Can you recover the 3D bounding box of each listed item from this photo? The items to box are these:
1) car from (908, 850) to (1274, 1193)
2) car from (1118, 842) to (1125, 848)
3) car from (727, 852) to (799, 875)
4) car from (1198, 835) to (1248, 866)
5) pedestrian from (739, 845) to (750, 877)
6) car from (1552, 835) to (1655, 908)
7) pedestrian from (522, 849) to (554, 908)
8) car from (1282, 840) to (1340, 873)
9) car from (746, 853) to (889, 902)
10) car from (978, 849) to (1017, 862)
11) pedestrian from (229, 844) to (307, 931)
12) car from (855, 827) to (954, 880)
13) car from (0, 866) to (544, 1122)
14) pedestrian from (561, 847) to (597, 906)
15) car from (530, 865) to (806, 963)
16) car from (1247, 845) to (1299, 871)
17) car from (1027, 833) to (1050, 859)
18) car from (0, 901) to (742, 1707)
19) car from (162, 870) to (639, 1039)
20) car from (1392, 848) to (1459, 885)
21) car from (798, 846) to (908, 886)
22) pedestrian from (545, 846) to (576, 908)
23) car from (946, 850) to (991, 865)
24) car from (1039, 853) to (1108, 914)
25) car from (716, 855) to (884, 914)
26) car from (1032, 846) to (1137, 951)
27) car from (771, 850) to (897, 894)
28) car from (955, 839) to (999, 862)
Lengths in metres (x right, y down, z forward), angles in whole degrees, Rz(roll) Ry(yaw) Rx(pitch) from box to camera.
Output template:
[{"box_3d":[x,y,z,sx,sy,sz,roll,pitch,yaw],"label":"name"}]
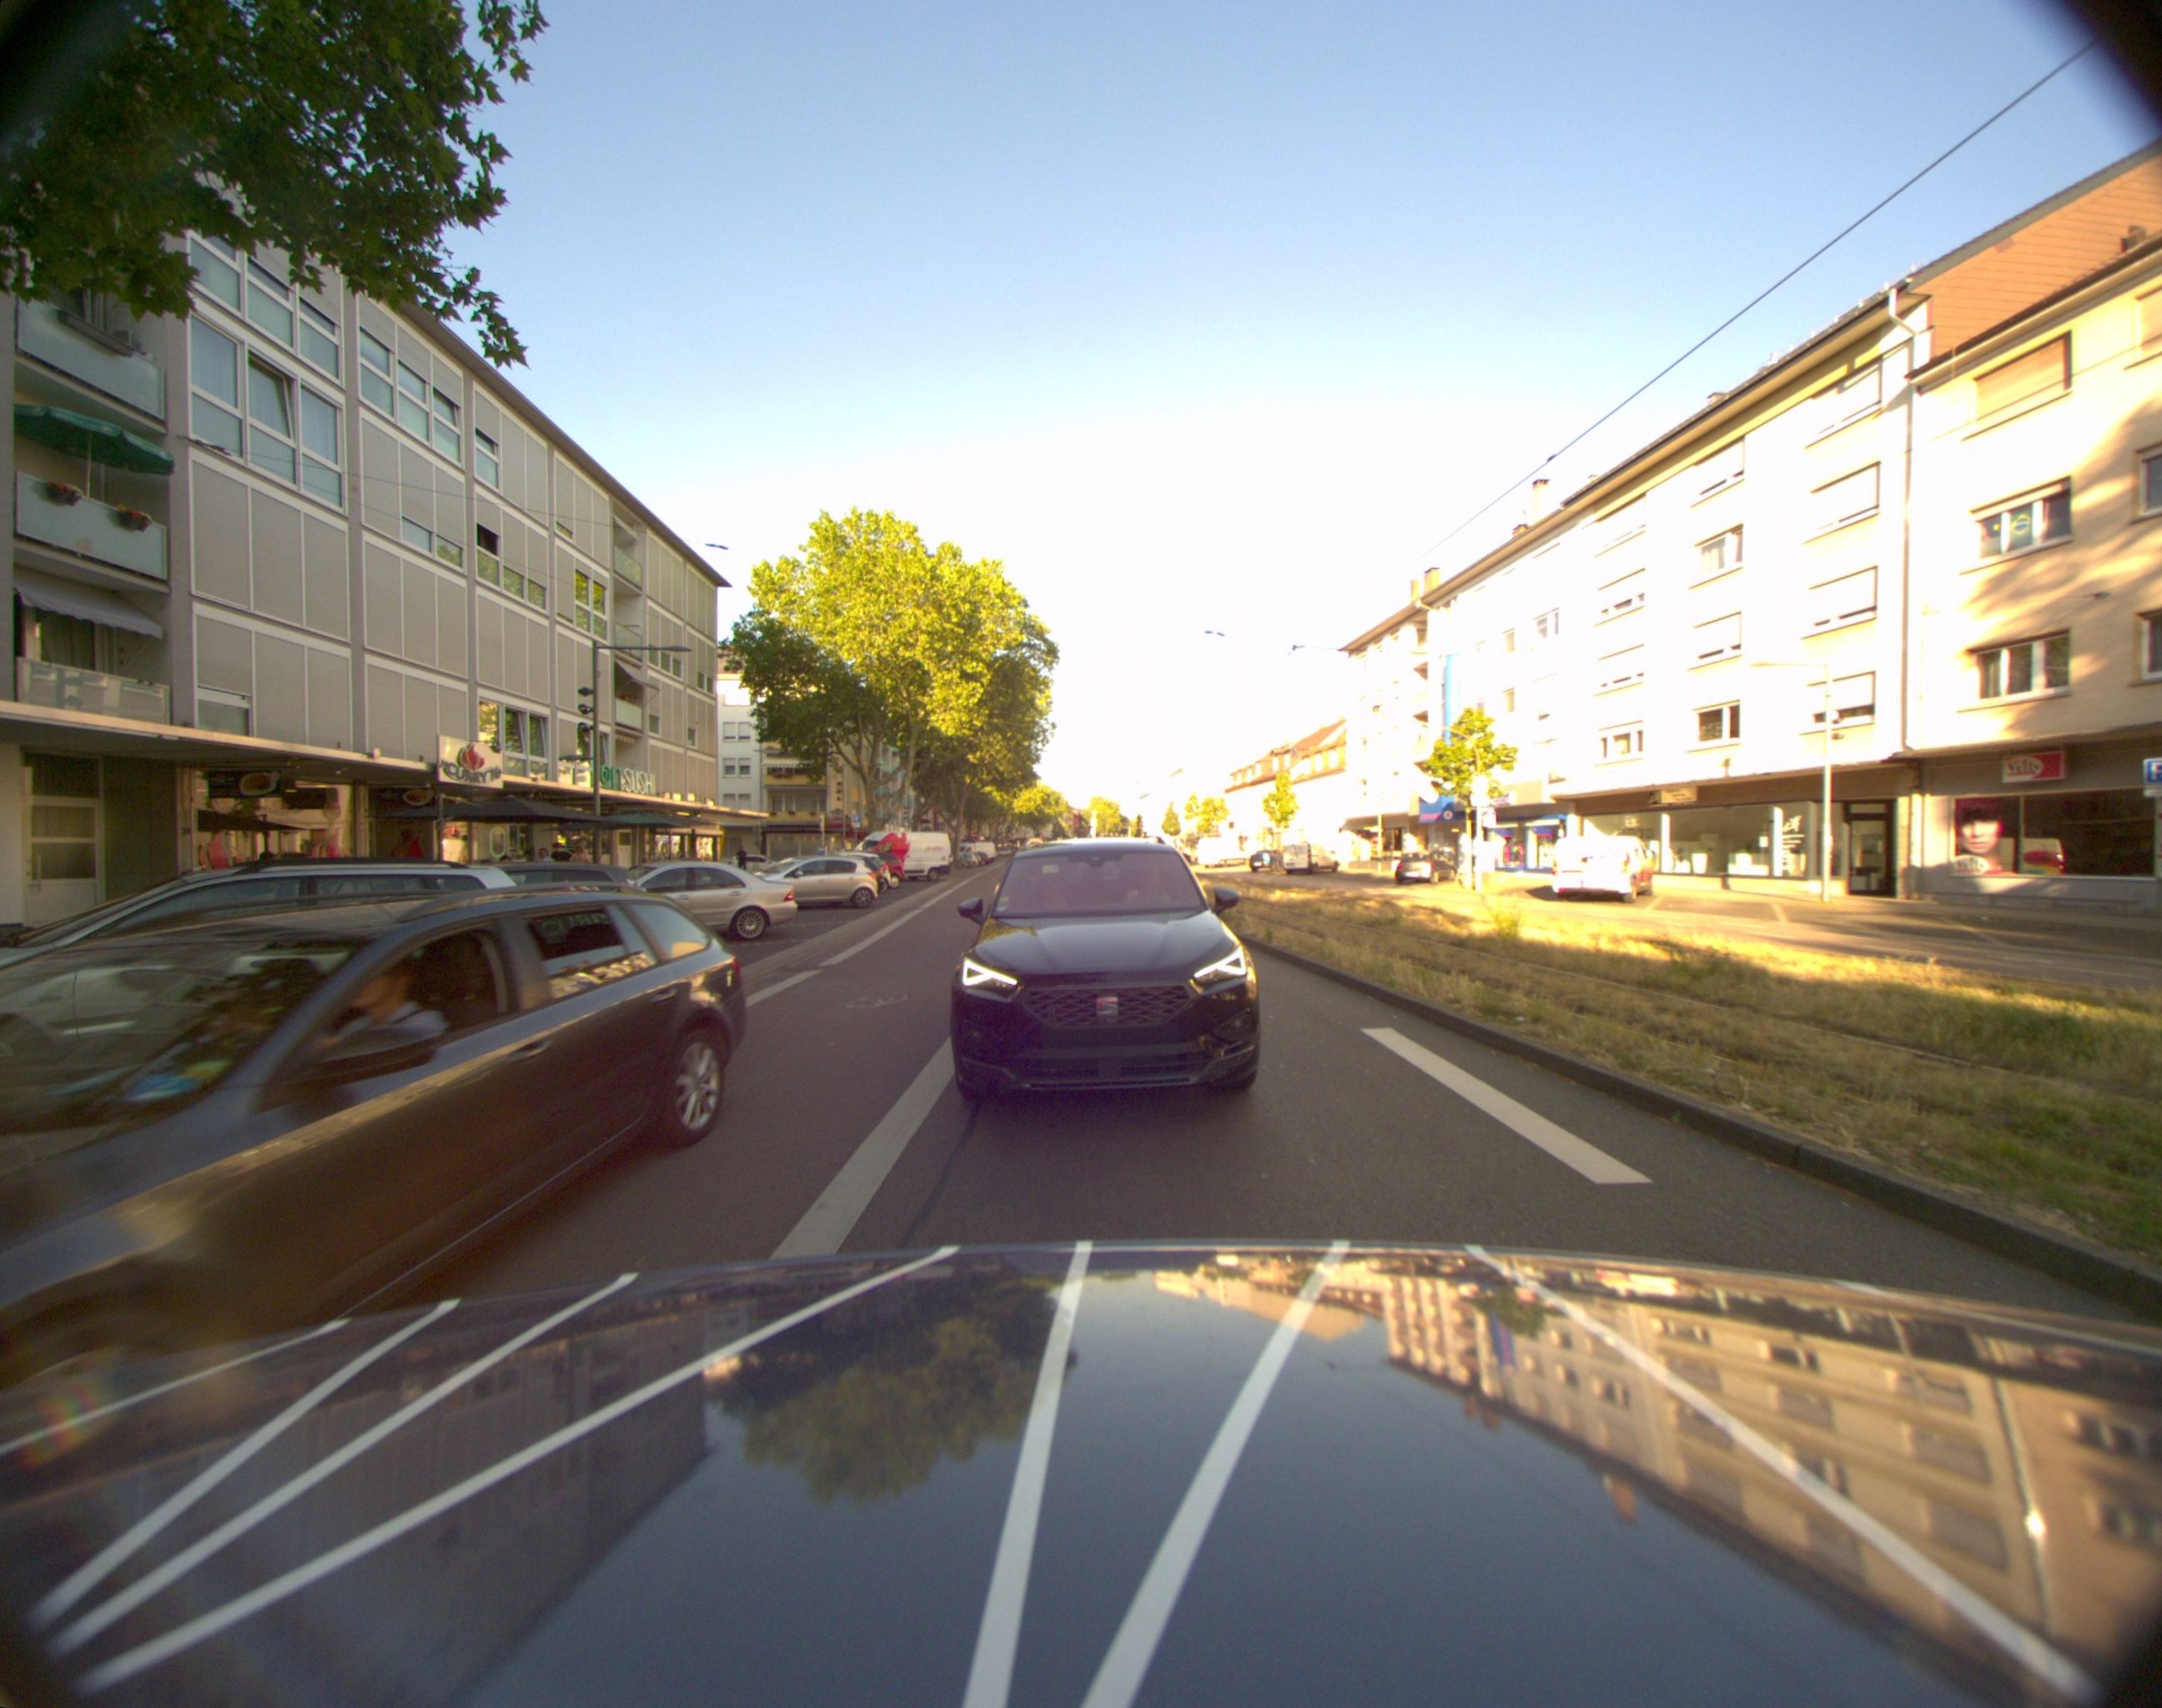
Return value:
[{"box_3d":[0.078,0.838,5.831,1.785,1.639,3.999,-2,1,1],"label":"car"},{"box_3d":[12.098,-2.644,227.166,1.845,1.571,4.451,0,1,4],"label":"car"},{"box_3d":[-21.042,0.602,50.373,4.000,1.412,1.998,0,1,-8],"label":"car"},{"box_3d":[12.920,-0.363,68.605,1.922,2.599,6.601,-1,1,34],"label":"car"},{"box_3d":[-18.361,0.368,41.455,0.481,1.720,0.347,-1,1,-38],"label":"pedestrian"},{"box_3d":[15.609,0.447,22.622,1.853,1.888,4.007,-1,2,44],"label":"car"},{"box_3d":[-15.148,0.685,21.199,0.537,1.630,0.478,0,1,-4],"label":"pedestrian"},{"box_3d":[14.487,0.110,47.807,1.853,1.927,4.513,-1,1,40],"label":"car"},{"box_3d":[-8.310,0.726,24.075,3.949,1.420,1.672,1,1,-34],"label":"car"},{"box_3d":[-9.104,0.163,82.975,1.778,1.326,3.943,0,1,44],"label":"car"},{"box_3d":[-15.129,0.608,14.164,0.583,1.573,0.771,0,1,2],"label":"pedestrian"},{"box_3d":[-8.731,0.007,37.837,4.606,2.479,1.672,0,-1,-44],"label":"car"},{"box_3d":[-6.906,0.908,6.033,1.672,1.533,3.993,2,1,38],"label":"car"},{"box_3d":[-13.463,0.598,20.390,0.561,1.567,0.642,0,1,-5],"label":"pedestrian"},{"box_3d":[-7.086,0.923,13.361,1.592,1.393,3.950,2,1,41],"label":"car"},{"box_3d":[13.799,0.240,54.519,3.922,1.704,1.853,-2,1,-45],"label":"car"},{"box_3d":[-5.333,-1.030,97.027,2.660,2.989,7.131,-2,1,-2],"label":"car"},{"box_3d":[-3.020,1.060,2.619,1.728,1.443,4.228,-2,1,0],"label":"car"},{"box_3d":[-7.711,0.961,8.972,1.672,1.420,3.950,2,1,38],"label":"car"},{"box_3d":[15.447,0.521,33.997,1.731,1.489,4.008,-1,1,40],"label":"car"},{"box_3d":[-9.166,0.488,30.599,3.948,1.421,1.672,2,2,-29],"label":"car"},{"box_3d":[-14.599,0.644,21.324,0.545,1.710,0.457,0,1,-4],"label":"pedestrian"},{"box_3d":[-10.793,0.281,72.969,1.778,1.396,3.943,1,1,44],"label":"car"},{"box_3d":[-0.208,0.763,21.625,1.729,1.467,3.999,-2,1,-1],"label":"car"},{"box_3d":[-7.519,0.785,20.550,3.950,1.420,1.555,1,1,-45],"label":"car"},{"box_3d":[0.044,0.705,14.368,1.646,1.646,3.999,-2,1,-1],"label":"car"},{"box_3d":[-8.825,0.643,27.248,3.948,1.421,1.672,2,2,-32],"label":"car"},{"box_3d":[-11.607,-0.412,85.040,1.973,2.454,4.605,1,1,44],"label":"car"}]
